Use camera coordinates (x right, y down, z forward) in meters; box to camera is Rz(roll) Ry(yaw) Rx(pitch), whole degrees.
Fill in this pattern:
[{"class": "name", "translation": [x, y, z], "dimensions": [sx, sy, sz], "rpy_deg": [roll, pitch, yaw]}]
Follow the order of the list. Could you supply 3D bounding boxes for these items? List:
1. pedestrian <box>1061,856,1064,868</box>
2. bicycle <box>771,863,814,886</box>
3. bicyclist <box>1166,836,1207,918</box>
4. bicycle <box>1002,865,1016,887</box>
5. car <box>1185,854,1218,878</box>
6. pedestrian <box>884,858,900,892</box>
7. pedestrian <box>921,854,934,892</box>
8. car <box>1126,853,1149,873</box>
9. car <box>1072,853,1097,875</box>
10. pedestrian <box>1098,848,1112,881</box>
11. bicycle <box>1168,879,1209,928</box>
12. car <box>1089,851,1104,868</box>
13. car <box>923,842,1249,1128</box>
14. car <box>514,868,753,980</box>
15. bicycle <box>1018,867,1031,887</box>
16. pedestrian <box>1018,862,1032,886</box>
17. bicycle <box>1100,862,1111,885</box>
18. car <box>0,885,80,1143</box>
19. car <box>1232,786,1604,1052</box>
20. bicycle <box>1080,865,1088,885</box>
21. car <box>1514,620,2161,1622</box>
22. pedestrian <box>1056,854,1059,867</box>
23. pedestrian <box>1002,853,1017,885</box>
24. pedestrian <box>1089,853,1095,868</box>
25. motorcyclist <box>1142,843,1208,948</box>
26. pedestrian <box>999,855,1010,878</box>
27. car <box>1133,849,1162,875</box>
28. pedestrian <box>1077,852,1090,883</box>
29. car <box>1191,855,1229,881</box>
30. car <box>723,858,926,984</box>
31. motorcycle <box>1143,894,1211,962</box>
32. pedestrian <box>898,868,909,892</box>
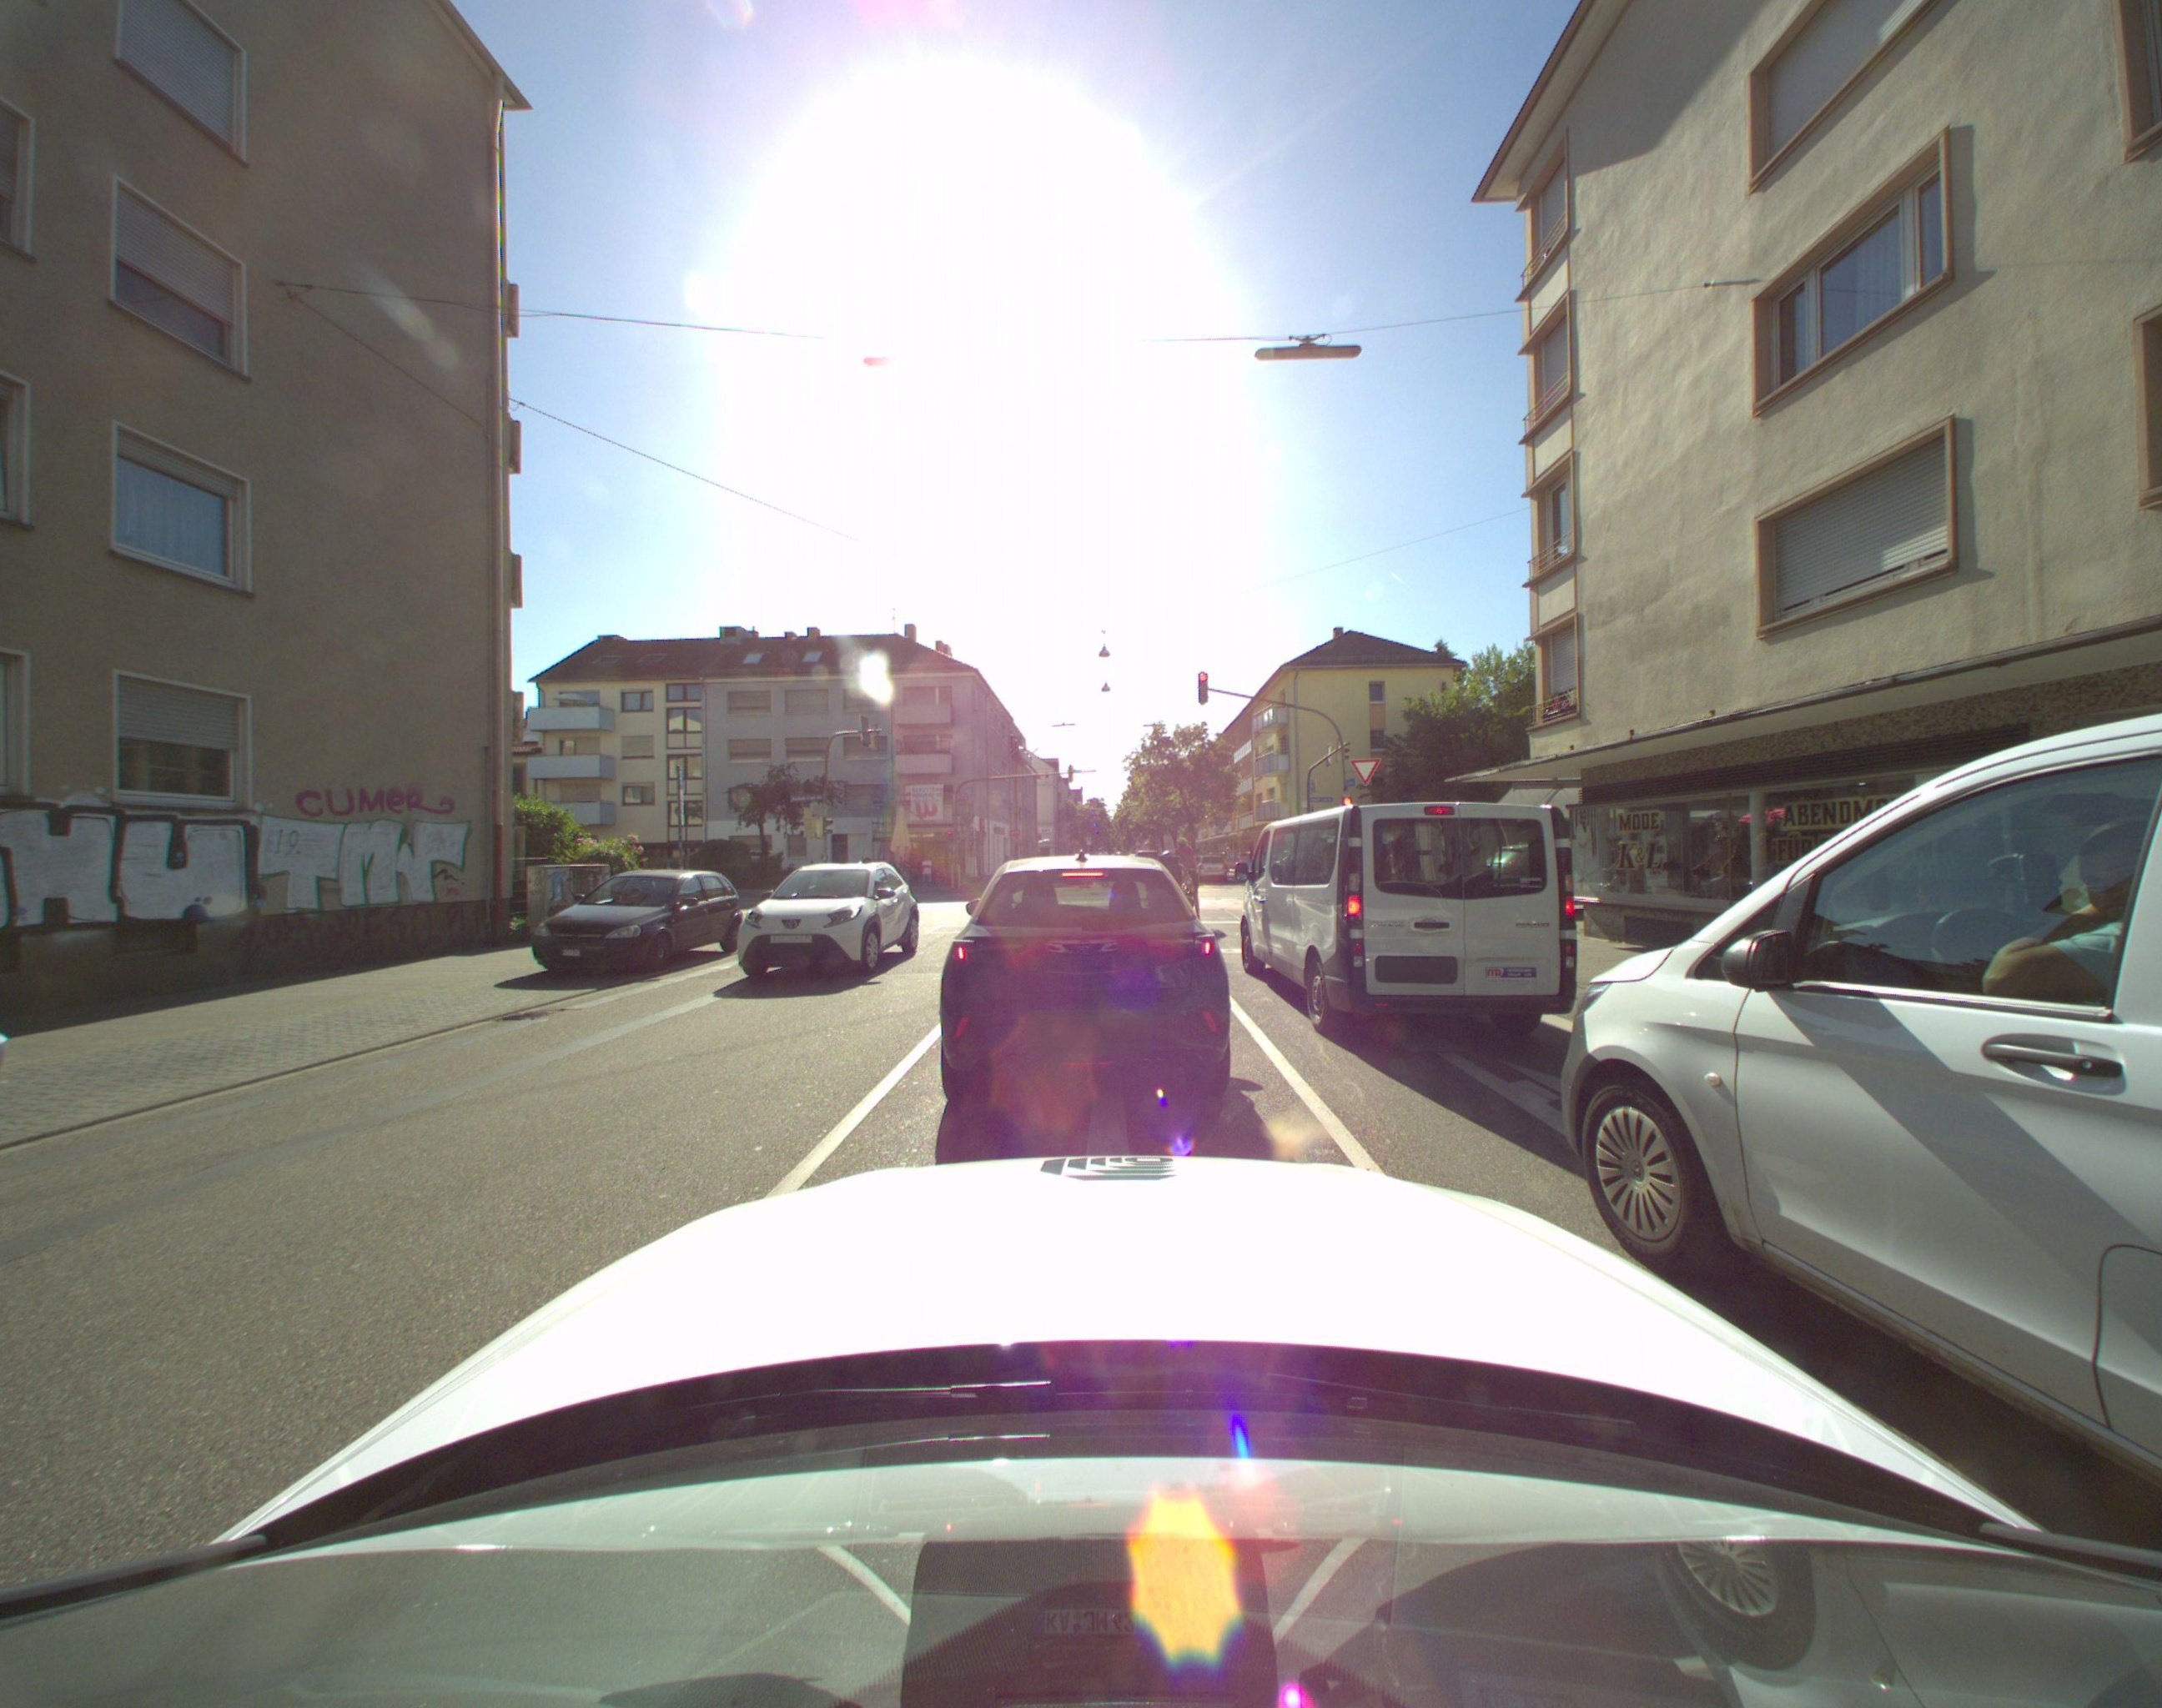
[{"class": "pedestrian", "translation": [-2.552, 1.054, 110.482], "dimensions": [0.400, 1.675, 0.418], "rpy_deg": [-1, 0, 1]}, {"class": "bicycle", "translation": [-15.348, 1.073, 43.350], "dimensions": [2.103, 1.172, 0.735], "rpy_deg": [-1, 0, -22]}, {"class": "bicyclist", "translation": [2.276, 0.478, 17.690], "dimensions": [0.687, 1.712, 1.414], "rpy_deg": [-1, 0, 0]}, {"class": "bicycle", "translation": [-3.908, 1.187, 44.148], "dimensions": [0.520, 1.147, 2.283], "rpy_deg": [-1, 0, 0]}, {"class": "car", "translation": [7.648, 0.766, 51.977], "dimensions": [1.628, 1.433, 4.002], "rpy_deg": [-1, 0, 2]}, {"class": "pedestrian", "translation": [-8.804, 0.967, 37.887], "dimensions": [0.582, 1.521, 0.649], "rpy_deg": [-1, 0, -1]}, {"class": "pedestrian", "translation": [-7.251, 0.888, 38.426], "dimensions": [0.560, 1.775, 0.582], "rpy_deg": [-1, 0, -7]}, {"class": "car", "translation": [5.040, 0.793, 73.263], "dimensions": [1.894, 1.728, 4.003], "rpy_deg": [-1, 0, 2]}, {"class": "car", "translation": [0.342, 0.799, 66.997], "dimensions": [1.817, 1.728, 4.004], "rpy_deg": [-1, 0, 3]}, {"class": "pedestrian", "translation": [1.268, 0.556, 43.716], "dimensions": [0.704, 1.701, 0.802], "rpy_deg": [-1, 0, 0]}, {"class": "bicycle", "translation": [2.324, 1.044, 17.762], "dimensions": [0.575, 0.904, 2.301], "rpy_deg": [-1, 0, 0]}, {"class": "car", "translation": [2.015, 0.703, 104.241], "dimensions": [1.848, 2.013, 3.882], "rpy_deg": [-1, 0, 2]}, {"class": "car", "translation": [0.033, 0.718, 6.478], "dimensions": [1.765, 1.530, 3.999], "rpy_deg": [-1, 0, 0]}, {"class": "car", "translation": [-6.771, 0.968, 12.809], "dimensions": [1.610, 1.425, 3.711], "rpy_deg": [1, 0, 1]}, {"class": "bicycle", "translation": [-3.034, 1.250, 44.197], "dimensions": [0.520, 0.992, 2.339], "rpy_deg": [-1, 0, 0]}, {"class": "pedestrian", "translation": [-3.001, 1.068, 43.728], "dimensions": [0.704, 1.253, 0.802], "rpy_deg": [-1, 0, 0]}, {"class": "bicycle", "translation": [1.311, 1.032, 43.840], "dimensions": [0.520, 1.147, 2.170], "rpy_deg": [-1, 0, 0]}, {"class": "car", "translation": [-7.114, 0.917, 2.628], "dimensions": [1.711, 1.465, 4.817], "rpy_deg": [1, 0, 1]}, {"class": "car", "translation": [2.983, 0.490, 8.563], "dimensions": [1.986, 1.979, 4.896], "rpy_deg": [0, 0, 1]}, {"class": "bicycle", "translation": [0.163, 1.116, 44.075], "dimensions": [0.442, 0.992, 2.068], "rpy_deg": [-1, 0, 0]}, {"class": "car", "translation": [2.921, 0.485, 1.250], "dimensions": [1.830, 1.869, 4.995], "rpy_deg": [-1, 0, 0]}, {"class": "pedestrian", "translation": [-3.218, 0.879, 110.738], "dimensions": [0.400, 1.675, 0.418], "rpy_deg": [-1, 0, 1]}, {"class": "pedestrian", "translation": [-3.861, 0.801, 44.036], "dimensions": [0.704, 1.678, 0.802], "rpy_deg": [-1, 0, 0]}, {"class": "pedestrian", "translation": [1.269, 0.759, 95.717], "dimensions": [0.566, 1.690, 0.590], "rpy_deg": [-1, 0, 14]}, {"class": "motorcyclist", "translation": [1.409, 0.606, 12.383], "dimensions": [0.861, 1.502, 1.160], "rpy_deg": [-1, 0, 1]}, {"class": "pedestrian", "translation": [-4.990, 0.804, 52.888], "dimensions": [0.615, 1.521, 0.724], "rpy_deg": [-1, 0, -1]}, {"class": "car", "translation": [4.638, 0.571, 57.336], "dimensions": [1.894, 1.728, 4.077], "rpy_deg": [-1, 0, 3]}, {"class": "pedestrian", "translation": [0.133, 0.720, 43.908], "dimensions": [0.678, 1.606, 0.762], "rpy_deg": [-1, 0, 0]}, {"class": "car", "translation": [7.438, 0.779, 47.231], "dimensions": [1.628, 1.433, 3.958], "rpy_deg": [-1, 0, 2]}, {"class": "car", "translation": [-3.613, 0.859, 12.200], "dimensions": [1.759, 1.536, 3.786], "rpy_deg": [-1, 0, 1]}, {"class": "motorcycle", "translation": [1.403, 1.072, 12.250], "dimensions": [0.822, 0.845, 1.885], "rpy_deg": [-1, 0, 1]}, {"class": "pedestrian", "translation": [-8.240, 1.183, 37.800], "dimensions": [0.354, 1.092, 0.461], "rpy_deg": [-1, 0, -1]}]
